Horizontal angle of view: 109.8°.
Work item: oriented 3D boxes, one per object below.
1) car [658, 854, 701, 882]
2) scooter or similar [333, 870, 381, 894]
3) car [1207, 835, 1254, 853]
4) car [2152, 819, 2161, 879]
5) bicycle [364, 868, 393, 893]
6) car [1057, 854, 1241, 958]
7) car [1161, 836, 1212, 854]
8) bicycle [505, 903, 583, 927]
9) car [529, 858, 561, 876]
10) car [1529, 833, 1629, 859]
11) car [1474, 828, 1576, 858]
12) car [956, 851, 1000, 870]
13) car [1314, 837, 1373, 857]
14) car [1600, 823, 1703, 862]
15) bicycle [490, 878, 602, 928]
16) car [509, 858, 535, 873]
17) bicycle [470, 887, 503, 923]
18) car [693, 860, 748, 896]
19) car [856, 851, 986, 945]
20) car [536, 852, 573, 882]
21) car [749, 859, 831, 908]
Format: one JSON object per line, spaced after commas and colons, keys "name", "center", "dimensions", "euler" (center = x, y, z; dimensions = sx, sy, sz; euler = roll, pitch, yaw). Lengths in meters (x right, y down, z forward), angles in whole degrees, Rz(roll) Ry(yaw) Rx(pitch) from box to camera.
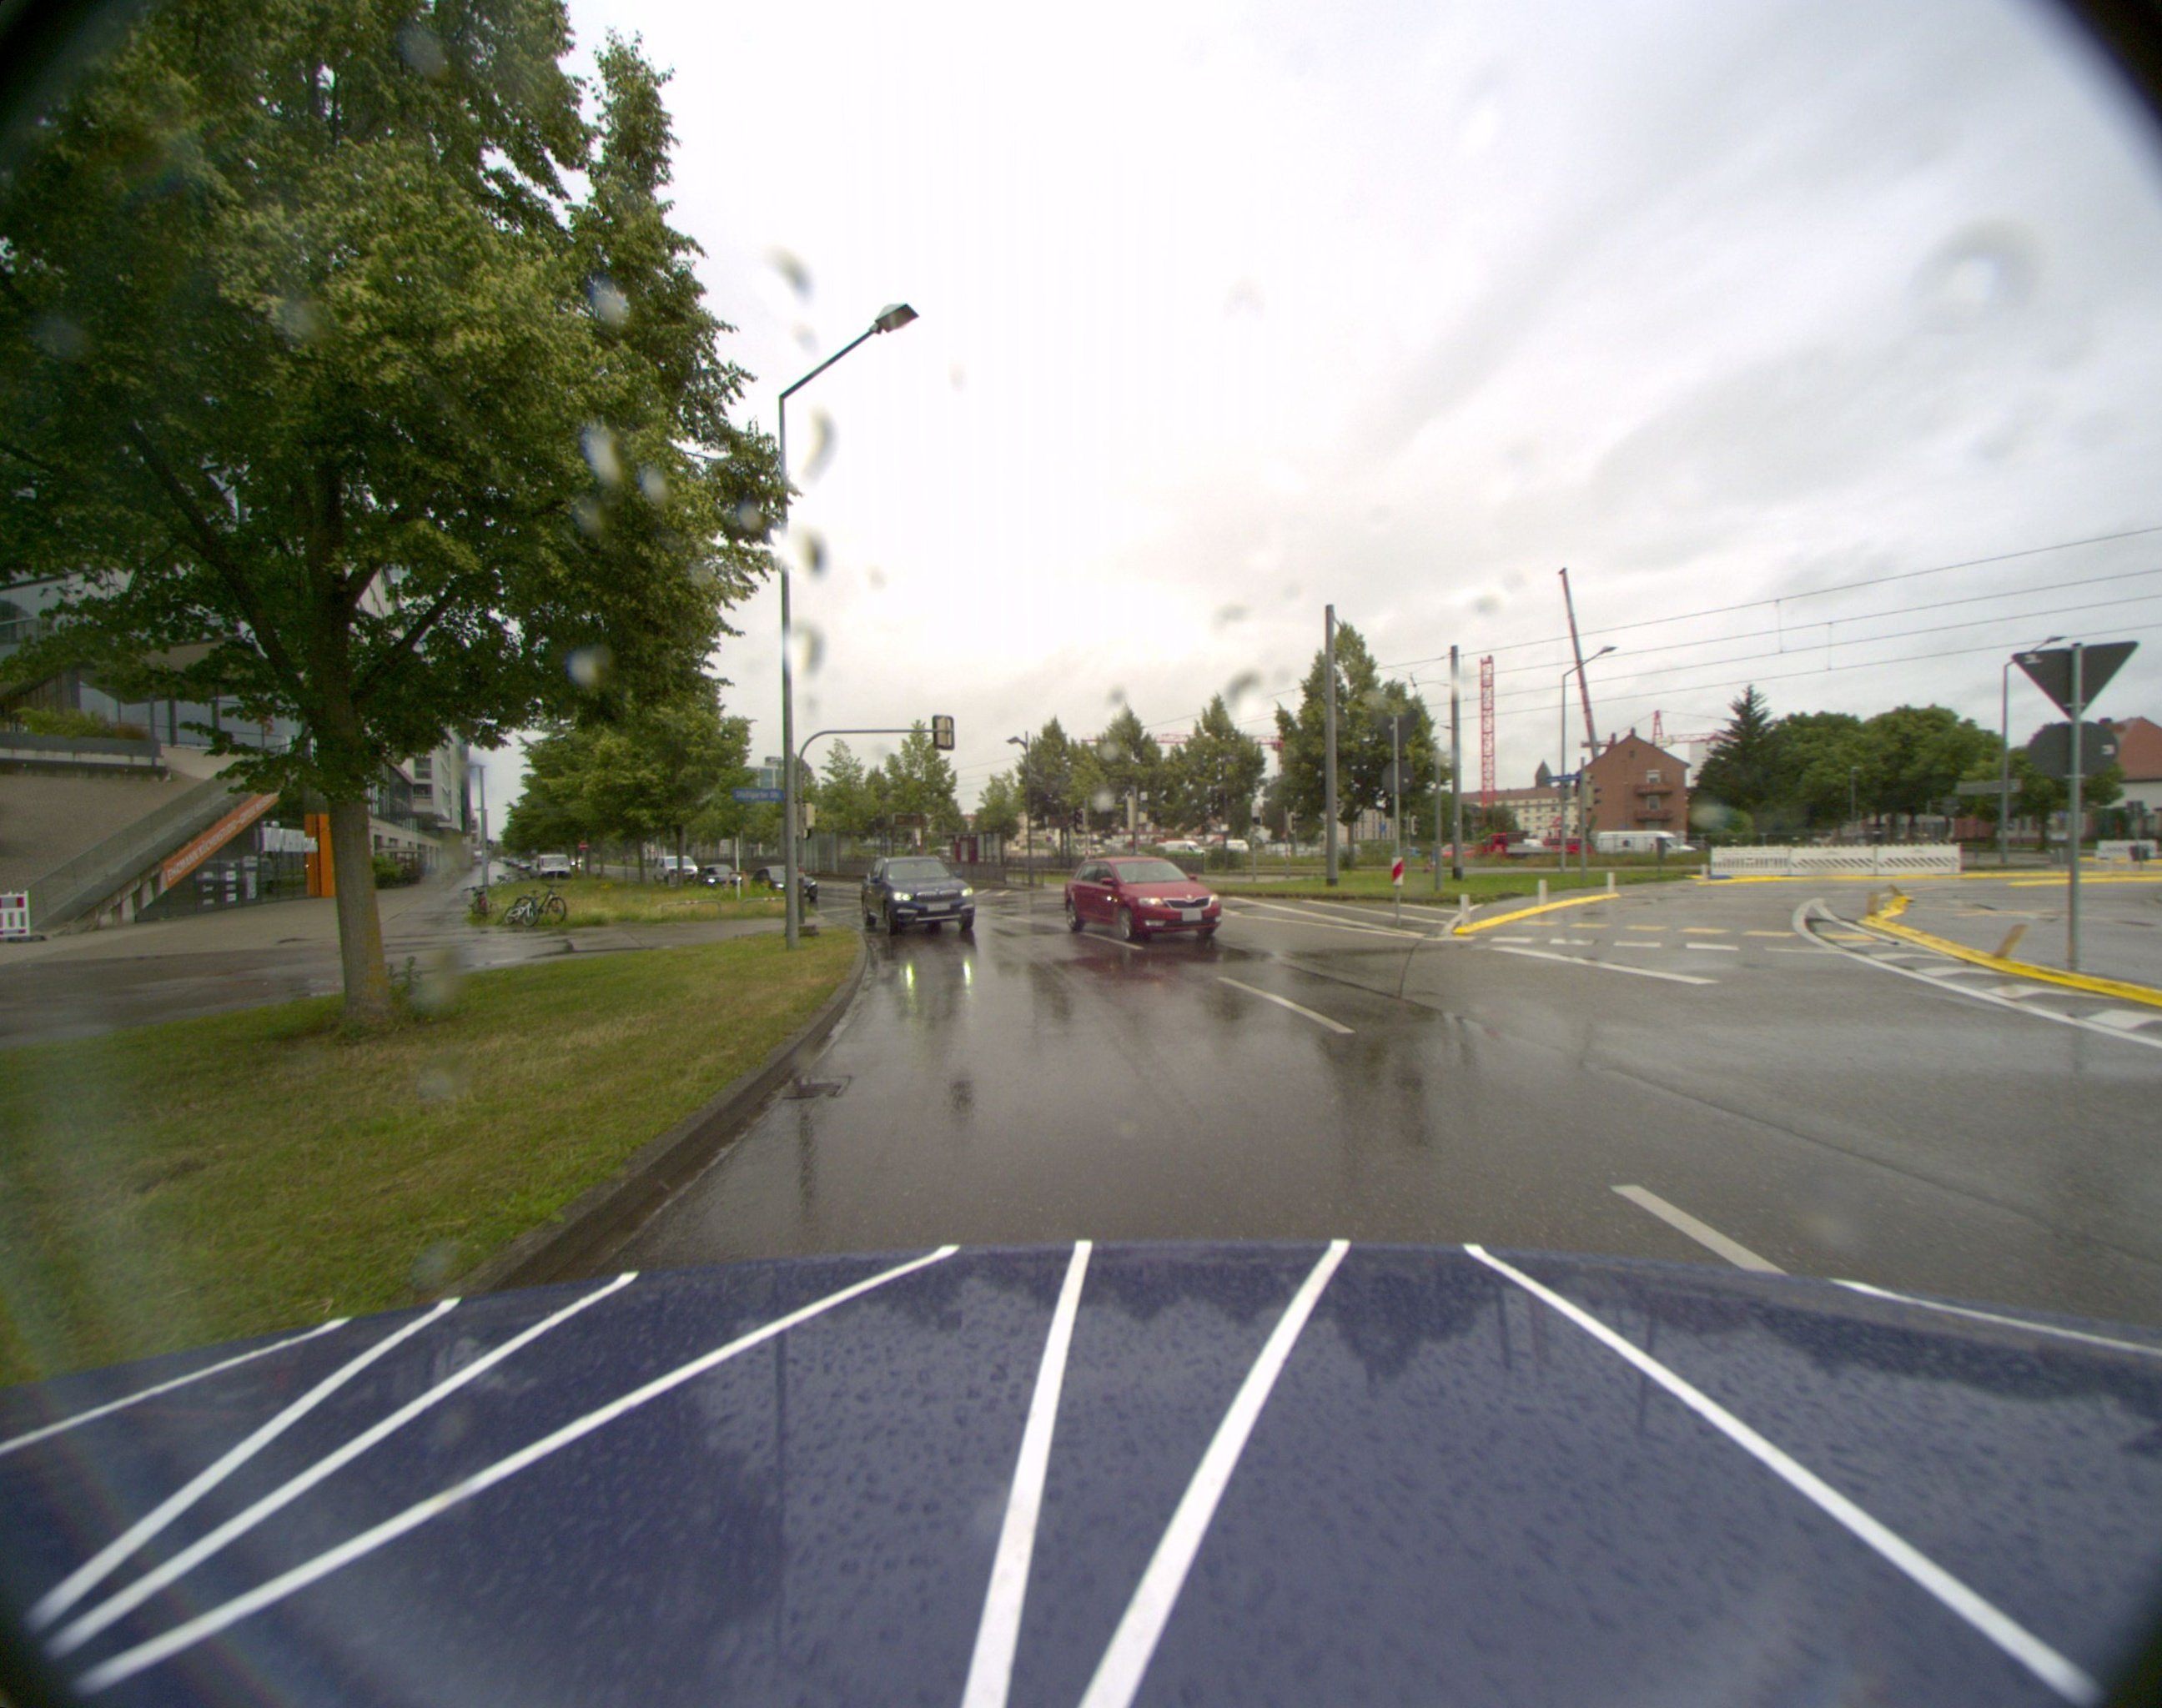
{"name": "car", "center": [-26.231, 0.887, 49.572], "dimensions": [1.792, 1.638, 3.989], "euler": [-5, 3, -36]}
{"name": "scooter or similar", "center": [-39.913, 1.523, 41.919], "dimensions": [0.813, 1.093, 2.609], "euler": [-4, 2, -19]}
{"name": "car", "center": [22.252, -1.432, 113.419], "dimensions": [2.505, 2.463, 6.817], "euler": [-5, 3, -40]}
{"name": "car", "center": [33.464, -0.215, 20.852], "dimensions": [4.859, 1.734, 1.778], "euler": [-2, 2, 10]}
{"name": "bicycle", "center": [-41.632, 1.560, 45.072], "dimensions": [0.884, 1.340, 2.689], "euler": [-5, 3, -36]}
{"name": "car", "center": [1.062, 0.817, 14.216], "dimensions": [1.790, 1.451, 4.307], "euler": [-4, 2, -19]}
{"name": "car", "center": [15.382, -1.318, 111.178], "dimensions": [2.361, 2.463, 7.617], "euler": [-5, 3, -40]}
{"name": "bicycle", "center": [-13.565, 1.543, 19.198], "dimensions": [1.801, 0.555, 0.321], "euler": [-2, 1, 5]}
{"name": "car", "center": [-51.492, 1.233, 72.992], "dimensions": [2.003, 1.543, 3.989], "euler": [-5, 3, -41]}
{"name": "car", "center": [39.823, -0.607, 61.004], "dimensions": [2.360, 2.002, 6.414], "euler": [-2, 1, -26]}
{"name": "car", "center": [33.638, -0.850, 57.846], "dimensions": [2.359, 2.002, 6.413], "euler": [-4, 2, -26]}
{"name": "car", "center": [-9.069, 0.556, 66.851], "dimensions": [1.855, 1.478, 4.214], "euler": [-5, 3, -39]}
{"name": "car", "center": [34.287, -0.863, 99.471], "dimensions": [6.816, 2.462, 2.361], "euler": [-1, 1, 40]}
{"name": "car", "center": [46.881, -0.932, 62.627], "dimensions": [2.359, 2.923, 6.413], "euler": [-4, 2, -26]}
{"name": "bicycle", "center": [-13.645, 1.242, 19.408], "dimensions": [2.522, 1.182, 0.553], "euler": [-2, 1, 5]}
{"name": "car", "center": [-66.269, 1.337, 90.015], "dimensions": [2.003, 1.543, 3.989], "euler": [-5, 3, -41]}
{"name": "bicycle", "center": [-16.253, 1.369, 20.740], "dimensions": [0.637, 0.842, 2.158], "euler": [-2, 1, -39]}
{"name": "car", "center": [-19.132, 1.218, 40.247], "dimensions": [1.792, 1.638, 3.989], "euler": [-5, 3, -36]}
{"name": "car", "center": [-3.844, 0.872, 17.625], "dimensions": [1.920, 1.737, 4.373], "euler": [-4, 2, -25]}
{"name": "car", "center": [-41.771, 0.987, 60.203], "dimensions": [2.089, 2.190, 5.083], "euler": [-5, 3, -36]}
{"name": "car", "center": [-12.088, 1.133, 31.397], "dimensions": [1.921, 1.737, 4.371], "euler": [-5, 3, -37]}
